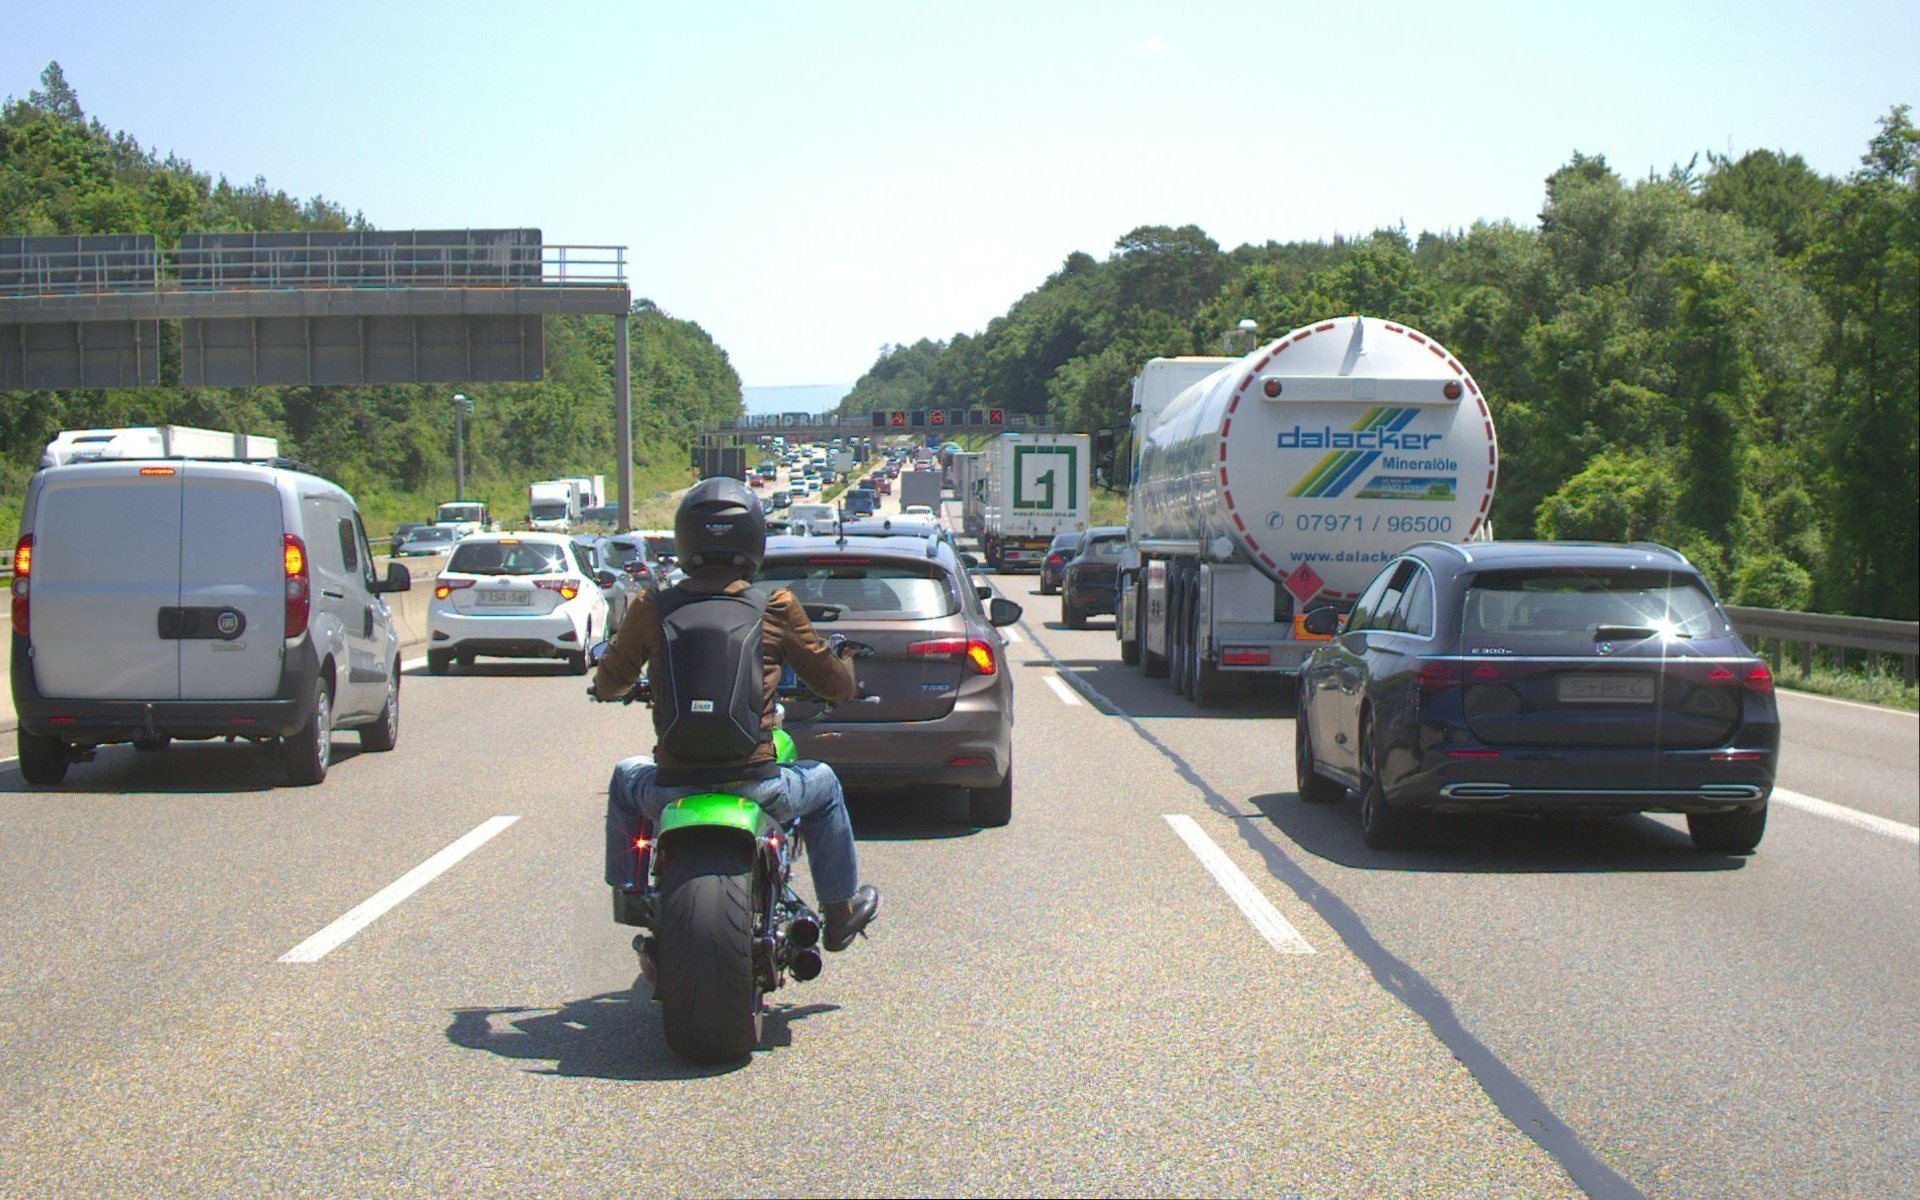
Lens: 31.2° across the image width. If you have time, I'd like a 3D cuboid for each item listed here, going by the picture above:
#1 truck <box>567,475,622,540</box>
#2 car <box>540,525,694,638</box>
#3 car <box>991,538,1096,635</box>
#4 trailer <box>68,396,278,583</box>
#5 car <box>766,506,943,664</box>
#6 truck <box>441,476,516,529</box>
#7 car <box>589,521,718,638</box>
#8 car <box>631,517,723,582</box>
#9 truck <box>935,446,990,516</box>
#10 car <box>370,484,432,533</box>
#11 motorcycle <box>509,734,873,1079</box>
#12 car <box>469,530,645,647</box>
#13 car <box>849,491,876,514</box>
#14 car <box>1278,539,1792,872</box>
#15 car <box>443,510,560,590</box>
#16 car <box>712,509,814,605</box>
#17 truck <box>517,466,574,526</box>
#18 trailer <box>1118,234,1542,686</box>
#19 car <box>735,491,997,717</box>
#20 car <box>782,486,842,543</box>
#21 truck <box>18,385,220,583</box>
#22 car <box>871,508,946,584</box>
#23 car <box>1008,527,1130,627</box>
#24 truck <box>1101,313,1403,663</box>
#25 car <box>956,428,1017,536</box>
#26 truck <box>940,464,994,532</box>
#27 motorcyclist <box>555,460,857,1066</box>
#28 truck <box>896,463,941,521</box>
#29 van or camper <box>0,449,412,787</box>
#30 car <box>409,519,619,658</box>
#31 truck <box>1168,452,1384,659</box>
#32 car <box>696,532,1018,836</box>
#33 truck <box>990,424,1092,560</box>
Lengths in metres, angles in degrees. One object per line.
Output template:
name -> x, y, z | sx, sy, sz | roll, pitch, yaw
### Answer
truck -> -23.322, -5.863, 219.751 | 2.692, 3.976, 7.991 | 1, 0, 0
car -> -5.314, -0.294, 53.740 | 1.993, 1.678, 4.330 | 1, 0, 0
car -> 1.771, -0.297, 74.191 | 1.993, 2.007, 4.000 | 1, 0, -2
trailer -> -19.949, -2.682, 87.889 | 2.949, 4.466, 10.817 | 1, 0, -1
car -> -1.244, -0.183, 41.173 | 1.993, 1.769, 4.000 | 1, 0, -1
truck -> -19.898, -4.008, 142.335 | 2.351, 2.007, 6.493 | 1, 0, -2
car -> -5.455, -0.372, 61.562 | 1.993, 2.007, 4.000 | 1, 0, -1
car -> -6.454, -1.146, 78.837 | 1.764, 1.437, 4.000 | 1, 0, 0
truck -> 0.079, -6.090, 177.105 | 2.696, 3.393, 10.479 | 0, 1, 0
car -> -23.832, -3.878, 146.625 | 1.993, 2.007, 4.000 | 1, 0, -1
motorcycle -> -0.755, 0.871, 10.418 | 0.936, 0.790, 2.299 | 1, 1, 0
car -> -5.276, -0.156, 45.425 | 1.993, 1.459, 4.000 | 1, 0, -2
car -> -6.732, -6.746, 237.197 | 1.770, 1.550, 4.000 | 0, 1, 0
car -> 2.762, 0.453, 17.538 | 1.792, 1.453, 4.624 | 1, 0, 0
car -> -8.872, -0.990, 66.752 | 1.824, 1.489, 4.001 | 0, 1, -1
car -> -4.239, -0.922, 74.616 | 1.993, 2.007, 4.000 | 1, 0, 0
truck -> -20.978, -5.223, 174.092 | 2.177, 2.875, 6.743 | 1, 0, -1
trailer -> 3.271, -1.176, 33.445 | 2.828, 3.658, 10.733 | 1, 0, -1
car -> -0.766, 0.017, 28.369 | 1.993, 1.705, 4.000 | 1, 0, -1
car -> -5.296, -3.062, 123.649 | 1.993, 2.007, 4.000 | 0, 1, 0
truck -> -19.873, -2.658, 81.719 | 2.949, 4.466, 7.518 | 1, 0, 0
car -> -1.391, -1.464, 93.318 | 1.993, 2.007, 4.000 | 0, 1, -1
car -> 1.713, -0.371, 55.109 | 1.776, 1.522, 4.000 | 1, 0, 0
truck -> 3.209, -1.202, 39.463 | 2.828, 3.658, 6.430 | 1, 0, 0
car -> 0.991, -4.477, 132.928 | 2.167, 3.879, 9.330 | 1, 0, -1
truck -> 0.238, -3.300, 111.988 | 1.591, 2.104, 3.751 | 1, 0, 2
motorcyclist -> -0.724, 0.451, 10.094 | 0.799, 1.682, 1.016 | 1, 0, 0
truck -> -2.533, -6.593, 211.243 | 2.696, 3.393, 10.479 | 0, 1, 0
van or camper -> -4.624, 0.032, 21.511 | 1.853, 1.874, 4.562 | 1, 2, -3
car -> -4.770, -0.129, 37.246 | 1.776, 1.406, 4.000 | 1, 0, 0
truck -> 4.812, -0.740, 53.731 | 2.388, 2.969, 8.253 | 0, 1, -1
car -> -0.514, 0.369, 18.593 | 1.541, 1.445, 4.000 | 1, 1, 0
truck -> 2.447, -3.124, 101.803 | 2.854, 3.808, 7.187 | 1, 0, 2
